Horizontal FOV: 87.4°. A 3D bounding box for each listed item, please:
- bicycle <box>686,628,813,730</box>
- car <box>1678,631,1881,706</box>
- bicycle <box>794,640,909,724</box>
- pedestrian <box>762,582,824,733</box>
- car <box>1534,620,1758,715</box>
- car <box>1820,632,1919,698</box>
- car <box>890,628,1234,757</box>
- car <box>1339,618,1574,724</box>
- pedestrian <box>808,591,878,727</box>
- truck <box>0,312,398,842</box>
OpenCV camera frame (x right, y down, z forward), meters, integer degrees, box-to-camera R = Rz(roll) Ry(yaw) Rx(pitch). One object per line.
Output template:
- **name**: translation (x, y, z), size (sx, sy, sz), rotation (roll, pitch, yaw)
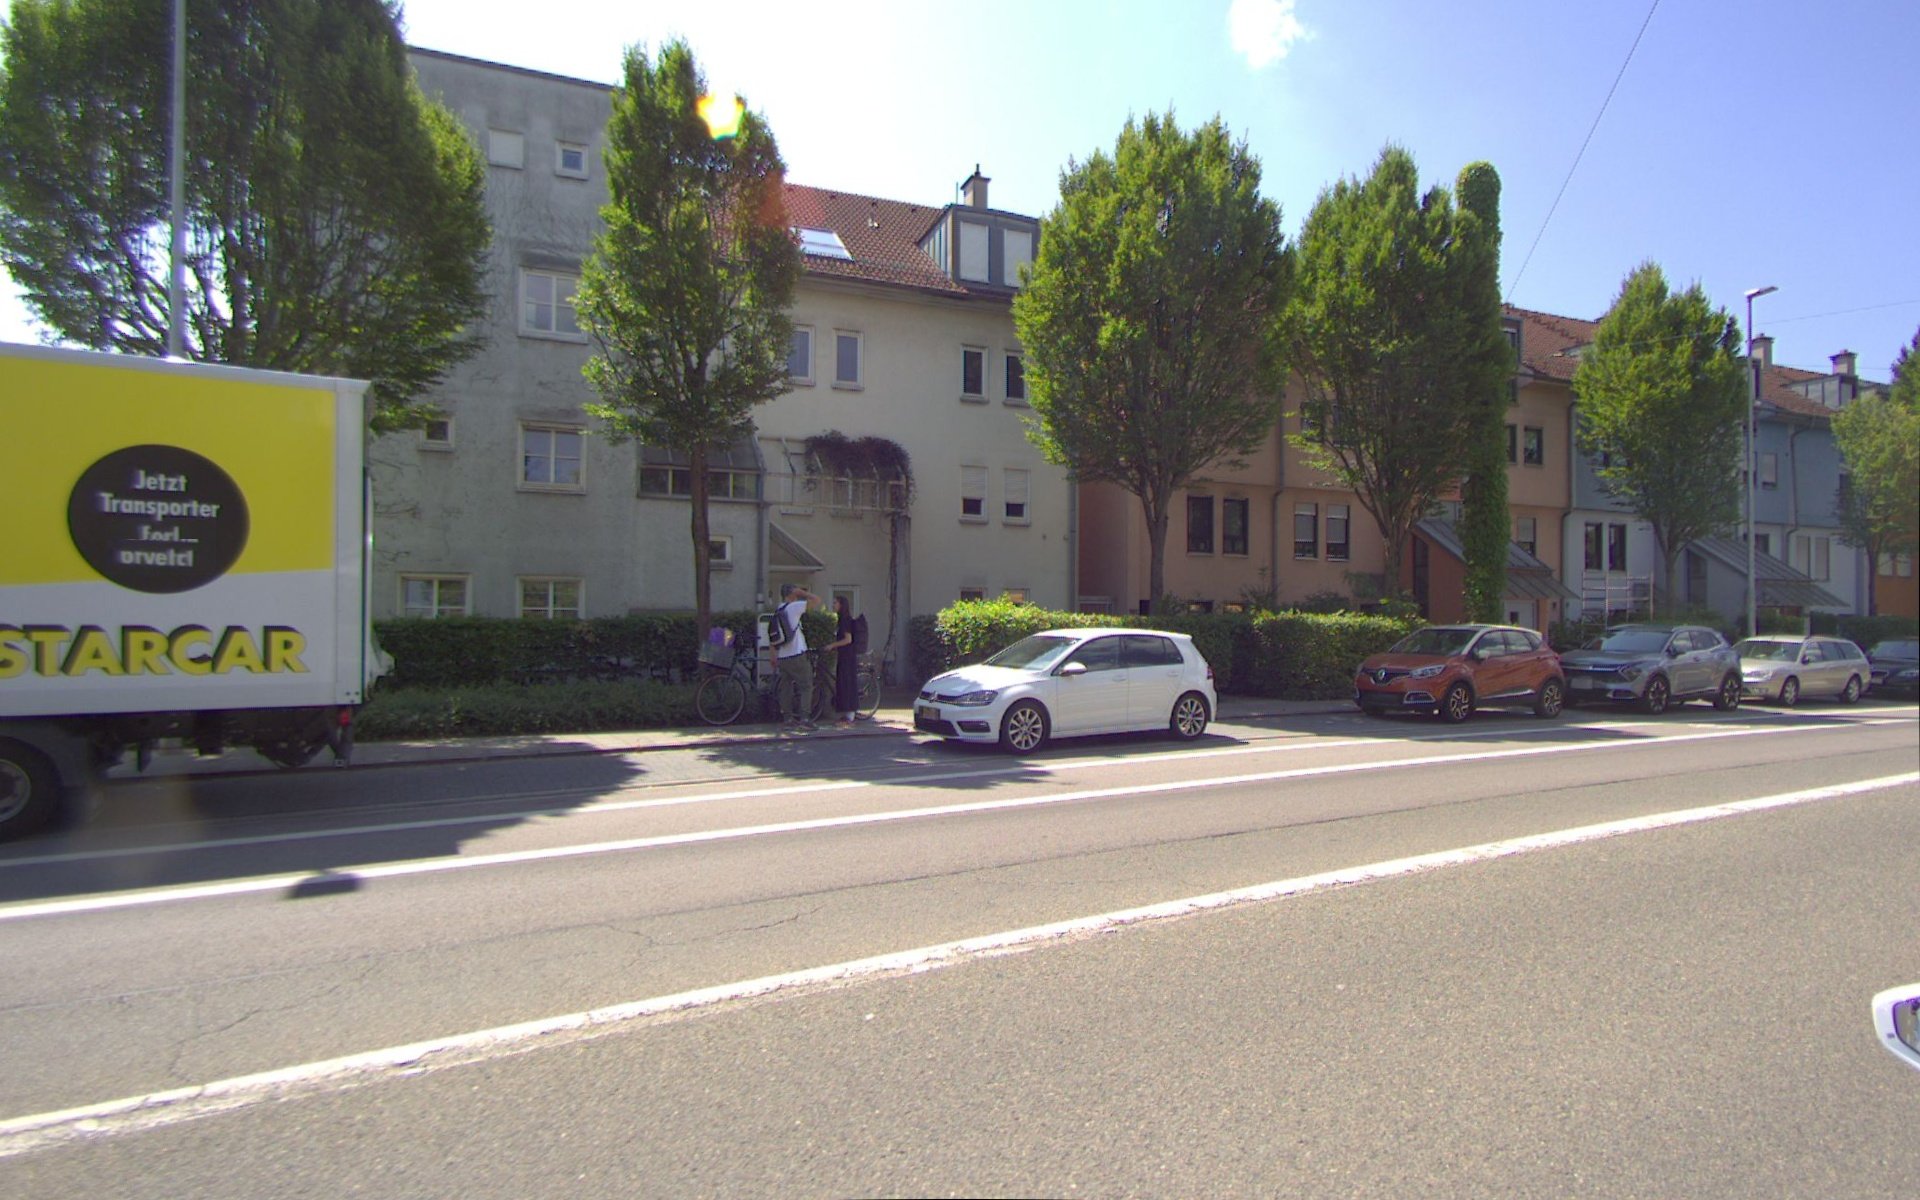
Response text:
- **bicycle**: translation (-2.871, 1.052, 13.744), size (1.644, 1.333, 0.454), rotation (1, -1, -29)
- **car**: translation (18.451, 1.472, 22.575), size (4.830, 1.528, 1.650), rotation (1, -1, -26)
- **bicycle**: translation (-1.556, 1.163, 14.535), size (1.648, 1.141, 0.453), rotation (1, -1, -34)
- **pedestrian**: translation (-2.193, 0.749, 13.272), size (0.694, 1.948, 0.644), rotation (0, -1, 1)
- **car**: translation (13.571, 1.255, 19.810), size (4.627, 1.631, 1.649), rotation (1, 1, -28)
- **car**: translation (23.852, 1.577, 25.163), size (4.899, 1.466, 1.735), rotation (1, 0, -26)
- **car**: translation (1.391, 1.083, 13.030), size (4.346, 1.429, 1.647), rotation (1, -2, -31)
- **car**: translation (8.562, 1.155, 17.239), size (4.125, 1.631, 1.647), rotation (1, -1, -31)
- **pedestrian**: translation (-1.619, 0.803, 13.920), size (0.672, 1.818, 0.702), rotation (-1, -1, 33)
- **truck**: translation (-8.678, -0.206, 7.174), size (8.076, 3.596, 2.817), rotation (1, 1, -31)
